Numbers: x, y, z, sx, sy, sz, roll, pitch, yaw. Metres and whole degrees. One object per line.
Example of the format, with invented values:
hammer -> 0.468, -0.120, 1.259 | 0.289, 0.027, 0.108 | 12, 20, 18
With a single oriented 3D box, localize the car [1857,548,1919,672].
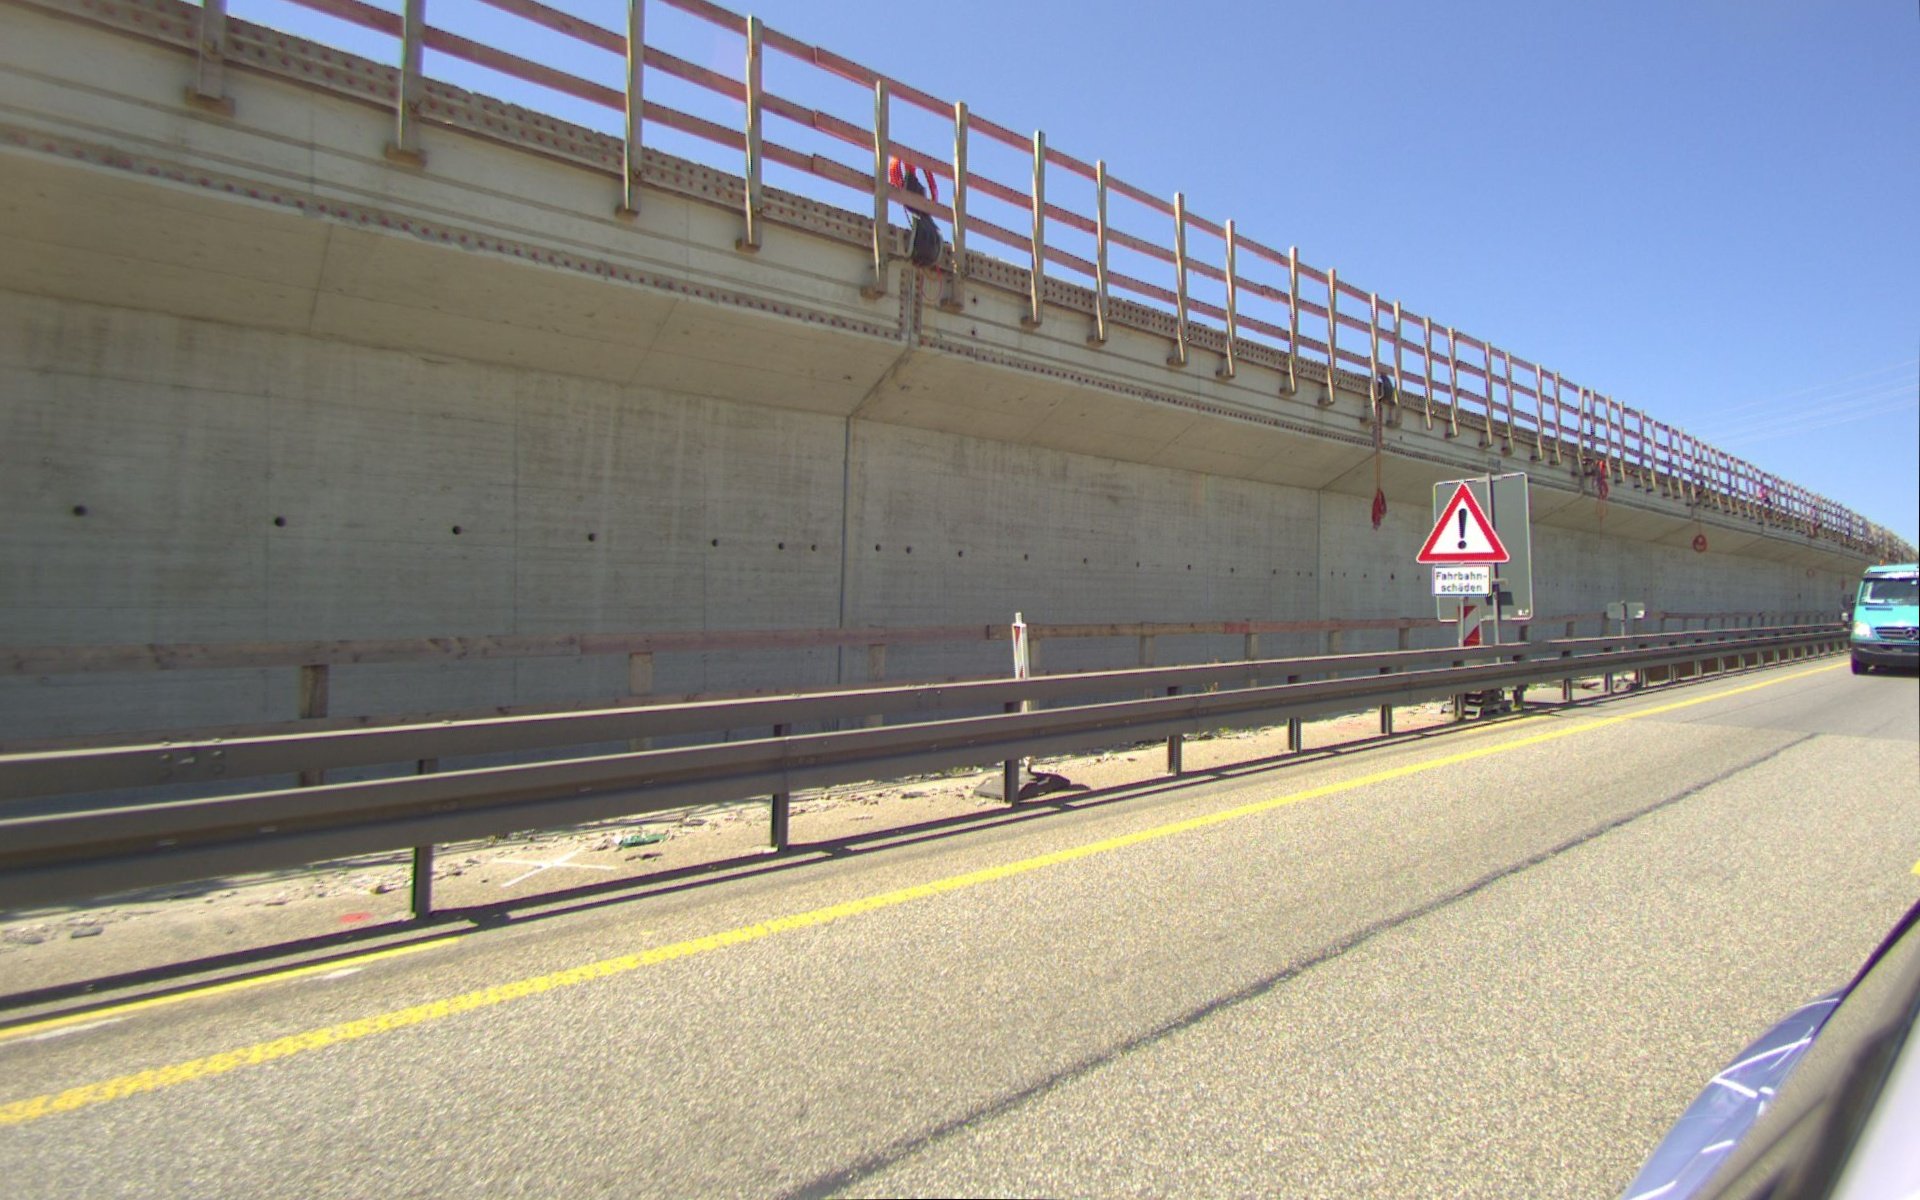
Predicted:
car -> 21.398, 0.167, 21.940 | 7.085, 2.411, 1.966 | -1, -1, -41
